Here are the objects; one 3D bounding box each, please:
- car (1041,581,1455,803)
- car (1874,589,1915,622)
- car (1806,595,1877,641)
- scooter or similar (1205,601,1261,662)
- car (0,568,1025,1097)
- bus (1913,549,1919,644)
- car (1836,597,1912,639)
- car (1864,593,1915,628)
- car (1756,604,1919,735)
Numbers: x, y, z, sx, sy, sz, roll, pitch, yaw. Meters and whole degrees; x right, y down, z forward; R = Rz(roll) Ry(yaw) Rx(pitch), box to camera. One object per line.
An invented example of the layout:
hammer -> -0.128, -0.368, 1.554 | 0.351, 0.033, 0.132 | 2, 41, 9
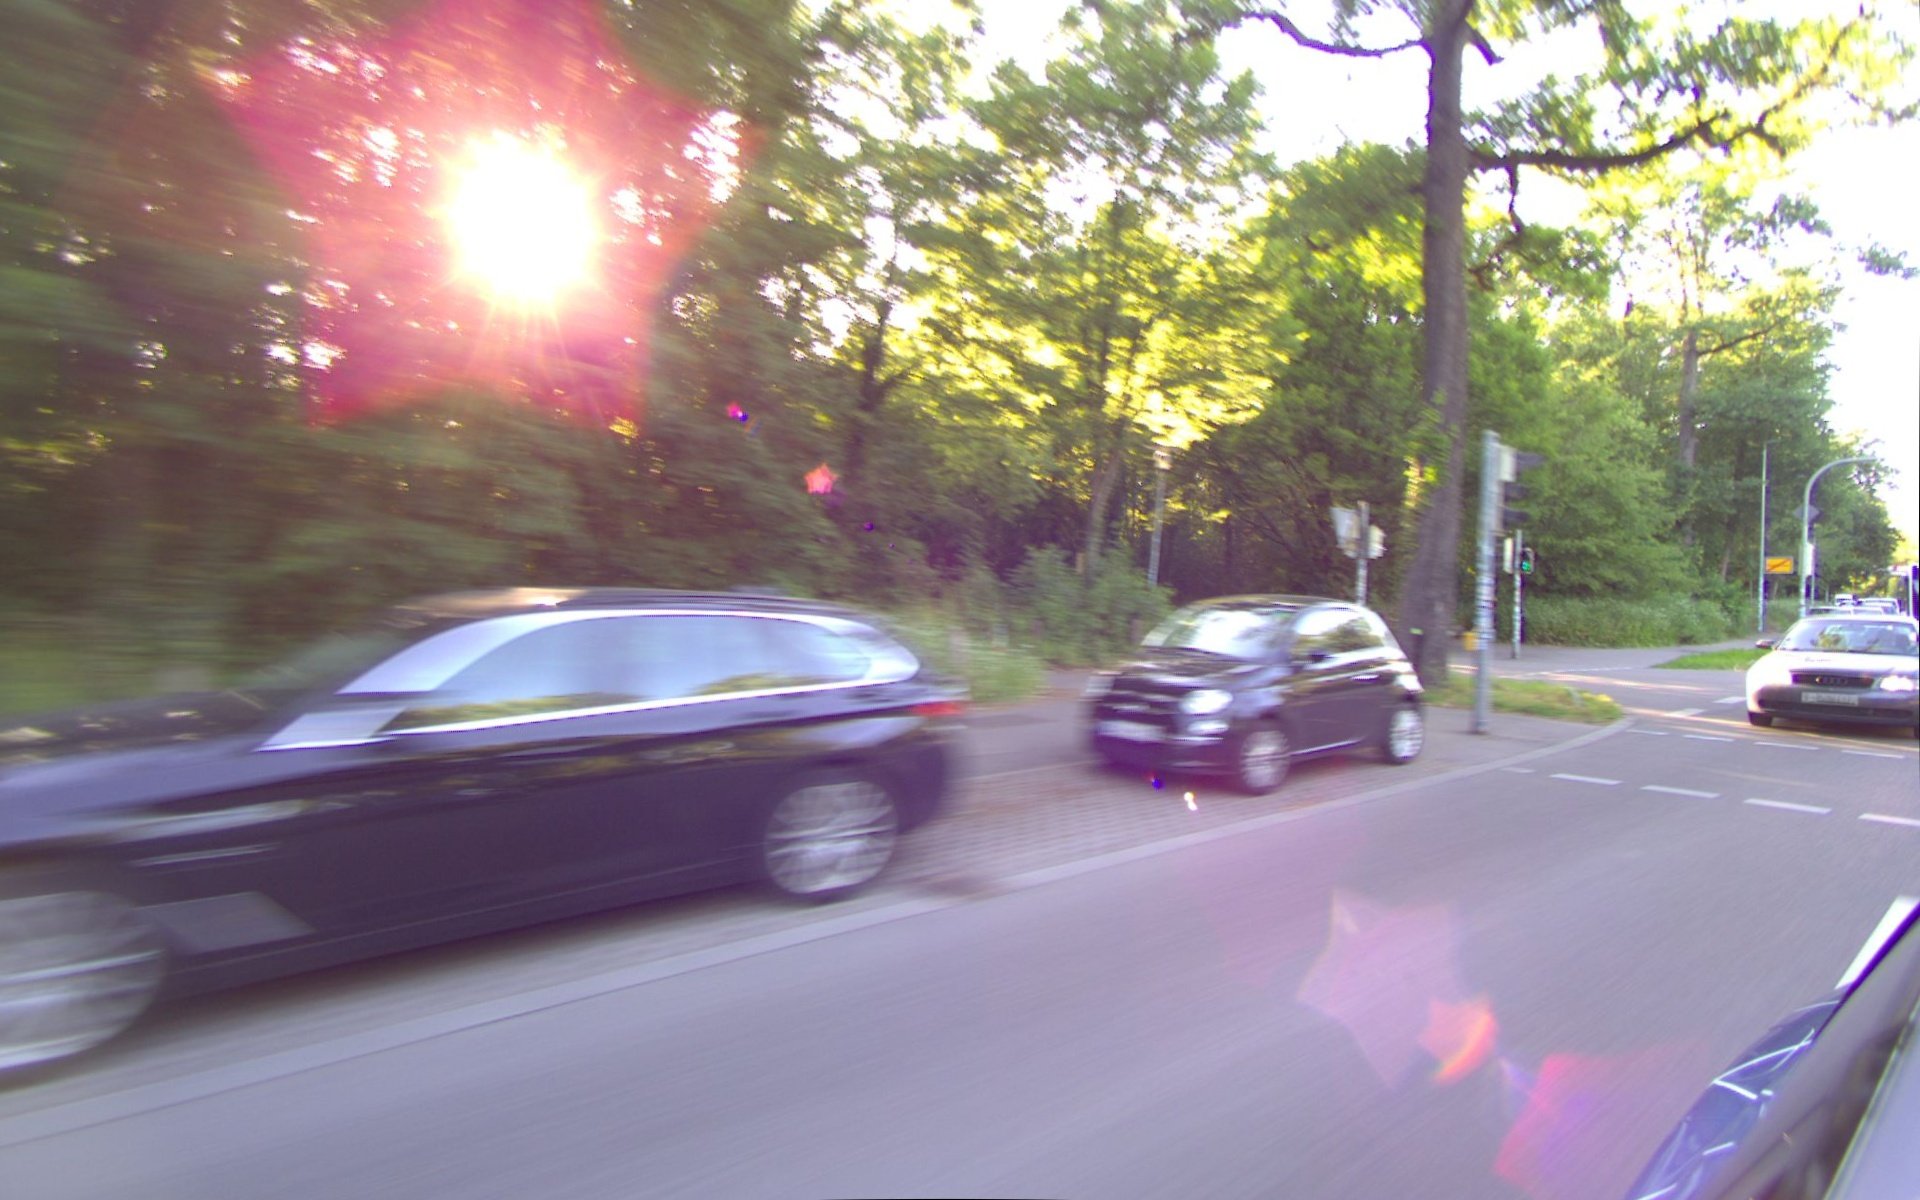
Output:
car -> 2.630, 0.616, 8.868 | 3.690, 1.487, 1.722 | 0, 3, -40
car -> 57.876, 0.319, 62.705 | 1.814, 1.945, 5.187 | 0, 1, 42
car -> 31.858, 0.604, 36.549 | 1.718, 1.487, 3.812 | 3, 3, 44
scooter or similar -> 5.424, 0.612, 20.063 | 1.200, 1.158, 0.379 | 0, 1, -36
car -> -2.065, 0.639, 4.623 | 4.900, 1.487, 1.721 | 0, 3, -41
bus -> 36.406, -0.100, 36.327 | 2.806, 3.086, 12.676 | 1, 0, 45
car -> 36.231, 0.667, 40.075 | 5.030, 1.487, 1.764 | -1, 3, -43
car -> 47.726, 0.489, 51.942 | 1.815, 1.654, 3.769 | 3, 3, 44
car -> 11.394, 0.755, 12.659 | 3.926, 1.376, 1.676 | 0, 1, -43
